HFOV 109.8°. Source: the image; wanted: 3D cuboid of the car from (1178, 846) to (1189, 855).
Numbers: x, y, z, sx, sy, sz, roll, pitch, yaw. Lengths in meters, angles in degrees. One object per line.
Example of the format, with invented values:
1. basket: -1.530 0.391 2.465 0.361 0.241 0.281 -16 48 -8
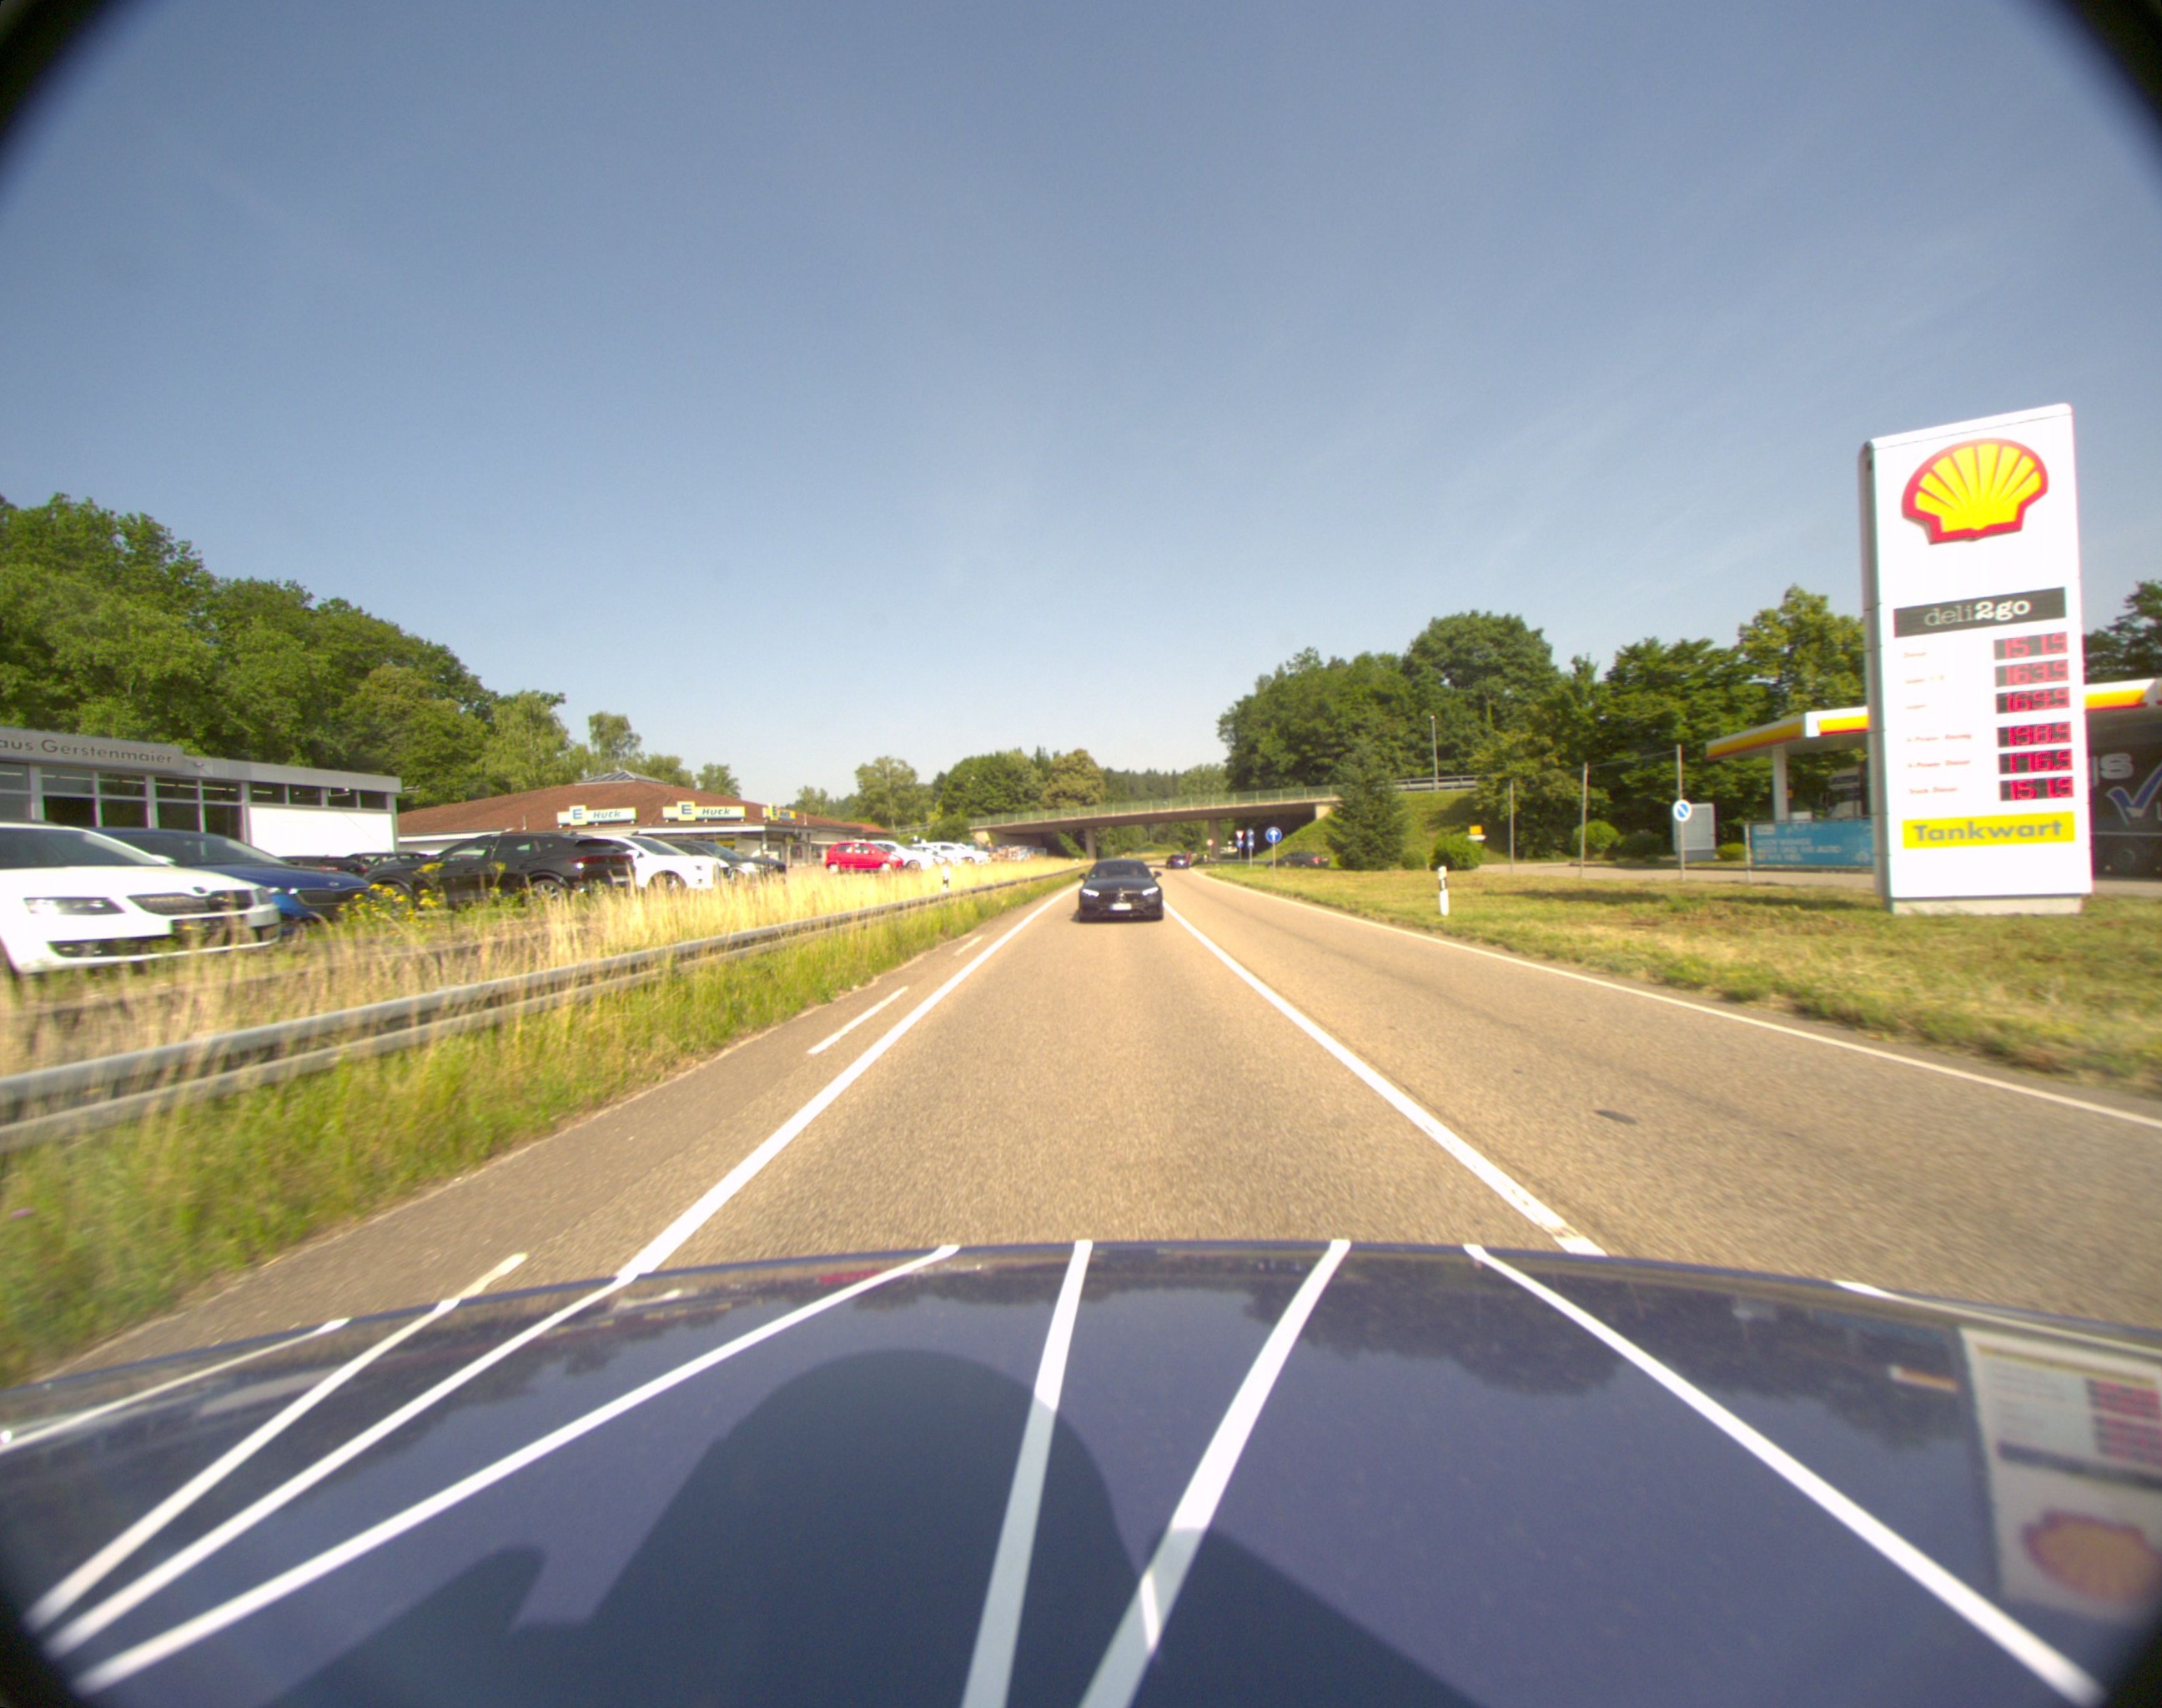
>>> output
1. car: 17.156 -0.575 127.248 1.681 1.348 3.924 -1 0 6

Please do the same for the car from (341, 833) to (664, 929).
1. car: -10.375 0.445 13.931 4.295 1.543 2.032 -1 1 -1

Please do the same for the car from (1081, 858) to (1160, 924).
1. car: 0.936 0.826 18.680 1.716 1.382 4.147 -1 0 2

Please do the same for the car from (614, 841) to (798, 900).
1. car: -10.000 0.410 20.465 3.996 1.456 1.877 -1 1 3

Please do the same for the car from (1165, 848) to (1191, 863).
1. car: 9.240 0.110 72.730 1.682 1.348 3.920 -1 0 -4

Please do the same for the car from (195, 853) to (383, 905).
1. car: -24.530 0.753 23.628 3.996 1.456 1.791 -1 1 3

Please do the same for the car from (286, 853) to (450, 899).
1. car: -24.470 0.727 26.183 3.996 1.456 1.791 -1 1 3

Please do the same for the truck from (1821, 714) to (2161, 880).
1. truck: 30.020 -1.562 23.527 3.056 4.110 16.792 -1 1 18

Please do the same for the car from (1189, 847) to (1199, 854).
1. car: 22.557 -0.705 151.472 1.681 1.348 3.924 -1 0 6

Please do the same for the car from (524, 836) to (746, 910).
1. car: -10.052 0.408 17.333 3.996 1.543 1.806 -1 1 3

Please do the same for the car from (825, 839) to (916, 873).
1. car: -9.557 0.092 34.652 3.545 1.456 1.805 -1 1 3

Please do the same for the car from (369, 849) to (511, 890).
1. car: -24.564 0.582 29.209 3.996 1.456 1.791 -1 1 3

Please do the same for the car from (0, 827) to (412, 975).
1. car: -10.607 0.485 8.753 4.056 1.486 1.879 -1 1 -1

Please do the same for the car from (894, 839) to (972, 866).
1. car: -8.438 -0.072 43.548 3.996 1.456 1.877 -1 1 3

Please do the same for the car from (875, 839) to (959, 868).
1. car: -8.615 -0.041 40.134 3.996 1.456 1.877 -1 1 3

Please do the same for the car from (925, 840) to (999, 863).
1. car: -7.957 -0.188 50.923 4.571 1.456 1.877 -1 1 3

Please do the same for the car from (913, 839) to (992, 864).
1. car: -7.976 -0.141 47.386 4.571 1.456 1.877 -1 1 3

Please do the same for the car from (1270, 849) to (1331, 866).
1. car: 16.125 0.260 55.957 1.812 1.166 4.089 -1 0 -35

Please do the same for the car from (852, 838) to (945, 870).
1. car: -8.882 0.005 37.157 3.996 1.456 1.877 -1 1 3

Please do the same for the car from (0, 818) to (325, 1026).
1. car: -9.500 0.508 6.462 4.359 1.486 1.880 -1 1 3
